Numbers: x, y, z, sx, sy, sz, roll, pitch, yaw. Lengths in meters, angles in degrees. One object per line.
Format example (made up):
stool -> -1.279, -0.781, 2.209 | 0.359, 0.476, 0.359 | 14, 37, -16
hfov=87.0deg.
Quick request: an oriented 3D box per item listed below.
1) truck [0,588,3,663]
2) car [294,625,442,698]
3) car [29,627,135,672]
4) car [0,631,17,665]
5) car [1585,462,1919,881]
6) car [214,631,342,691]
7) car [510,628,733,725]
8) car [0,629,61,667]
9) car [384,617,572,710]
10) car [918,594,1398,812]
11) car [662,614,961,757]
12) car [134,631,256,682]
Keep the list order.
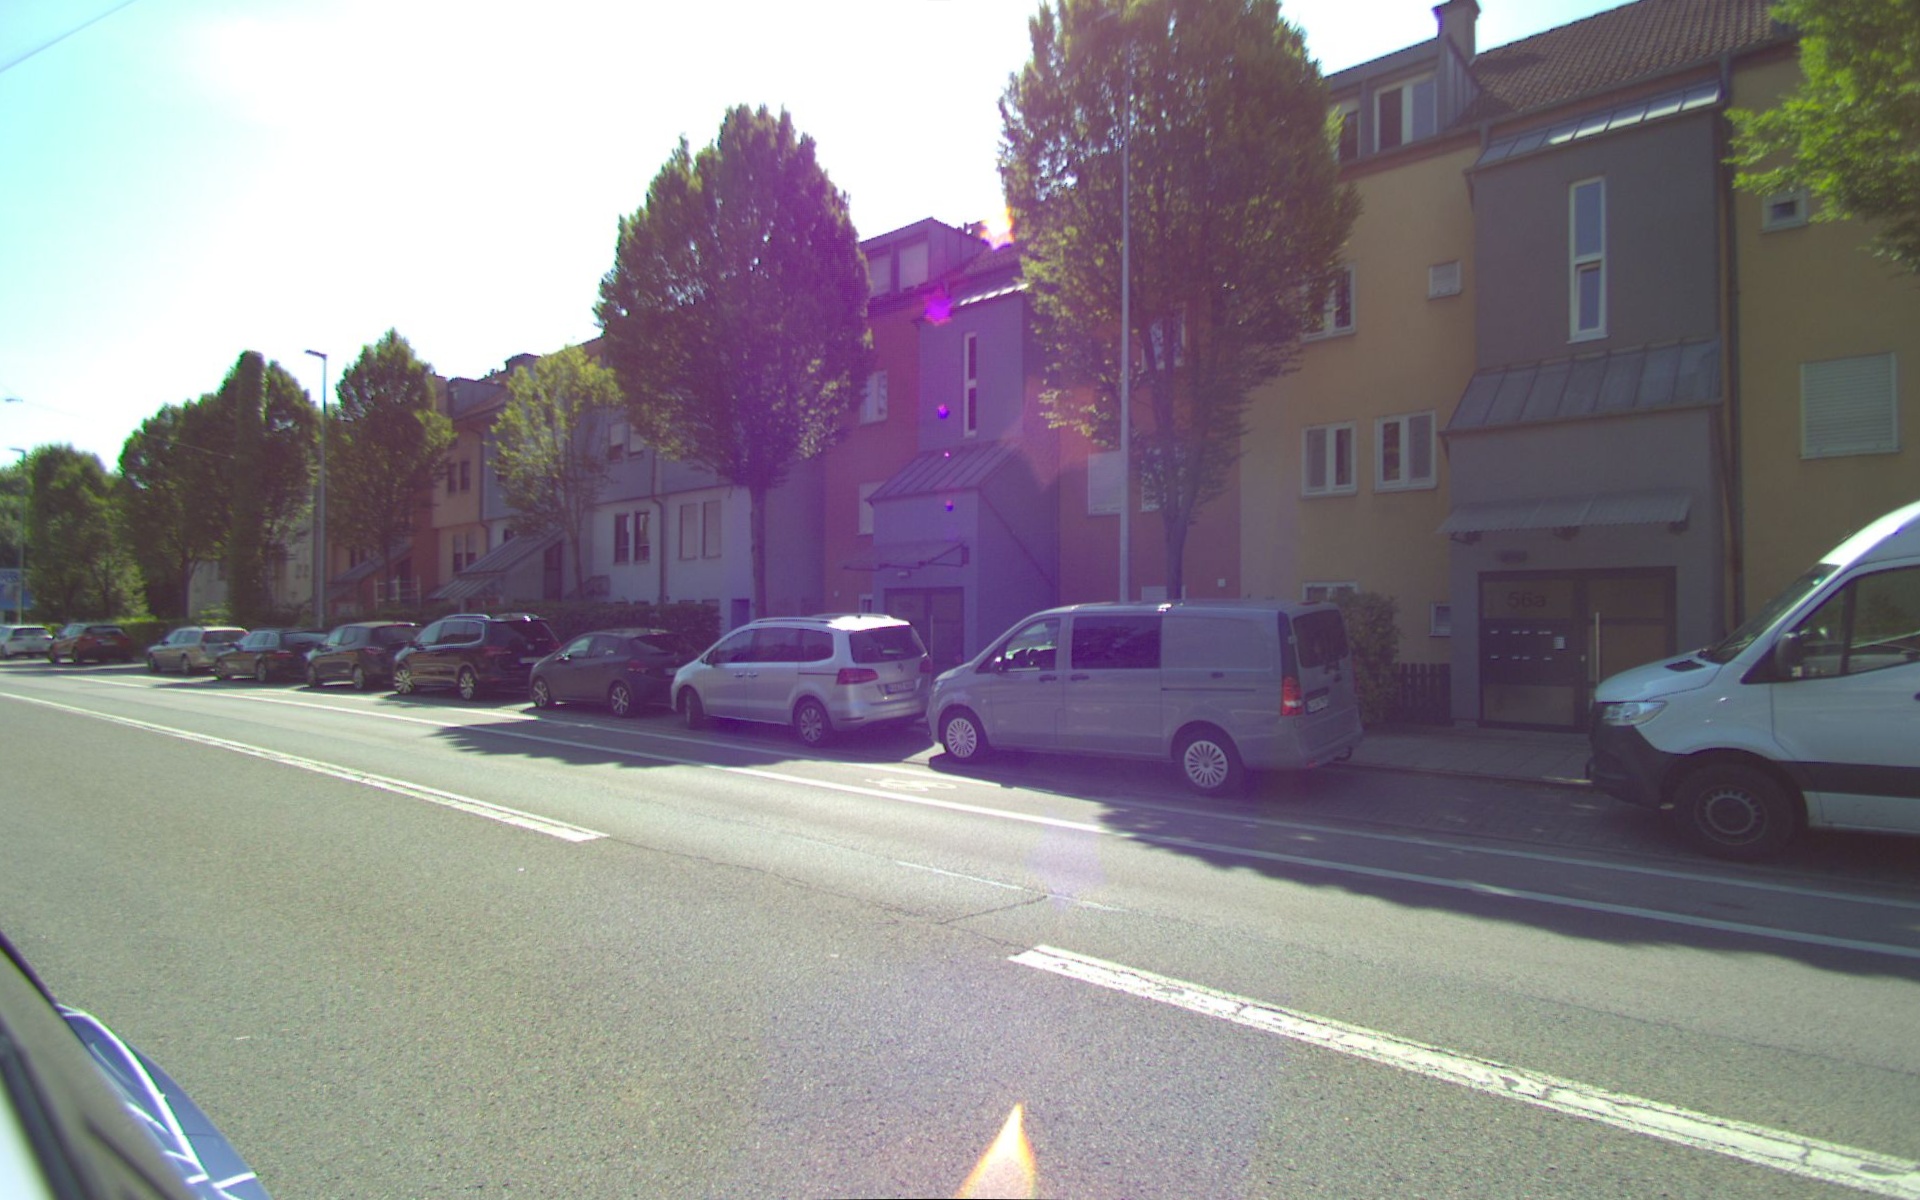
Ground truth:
truck -> -50.616, 1.256, 49.849 | 8.761, 3.581, 3.129 | -1, -2, 34
car -> -14.487, 1.432, 24.700 | 4.158, 1.619, 1.661 | -1, -1, 37
car -> -33.676, 1.856, 38.763 | 4.919, 1.588, 1.889 | -1, -1, 34
car -> -44.469, 2.149, 45.696 | 4.205, 1.489, 1.894 | -1, -1, 34
car -> 8.104, 0.397, 6.124 | 7.083, 2.697, 1.973 | -2, 1, 41
car -> -18.984, 1.639, 28.114 | 4.206, 1.481, 1.661 | -1, -1, 37
car -> -6.231, 1.307, 18.478 | 4.069, 1.466, 1.849 | -1, 1, 37
car -> -40.191, 2.001, 42.999 | 4.122, 1.510, 2.017 | -1, -1, 34
car -> -10.294, 1.265, 21.504 | 4.342, 1.741, 1.813 | -1, 0, 37
car -> 2.041, 0.970, 11.462 | 4.963, 1.879, 1.973 | -1, 2, 41
car -> -2.302, 1.112, 14.936 | 4.538, 1.715, 1.829 | -1, 1, 41
car -> -24.409, 1.762, 32.245 | 4.825, 1.457, 1.663 | -1, -1, 34
